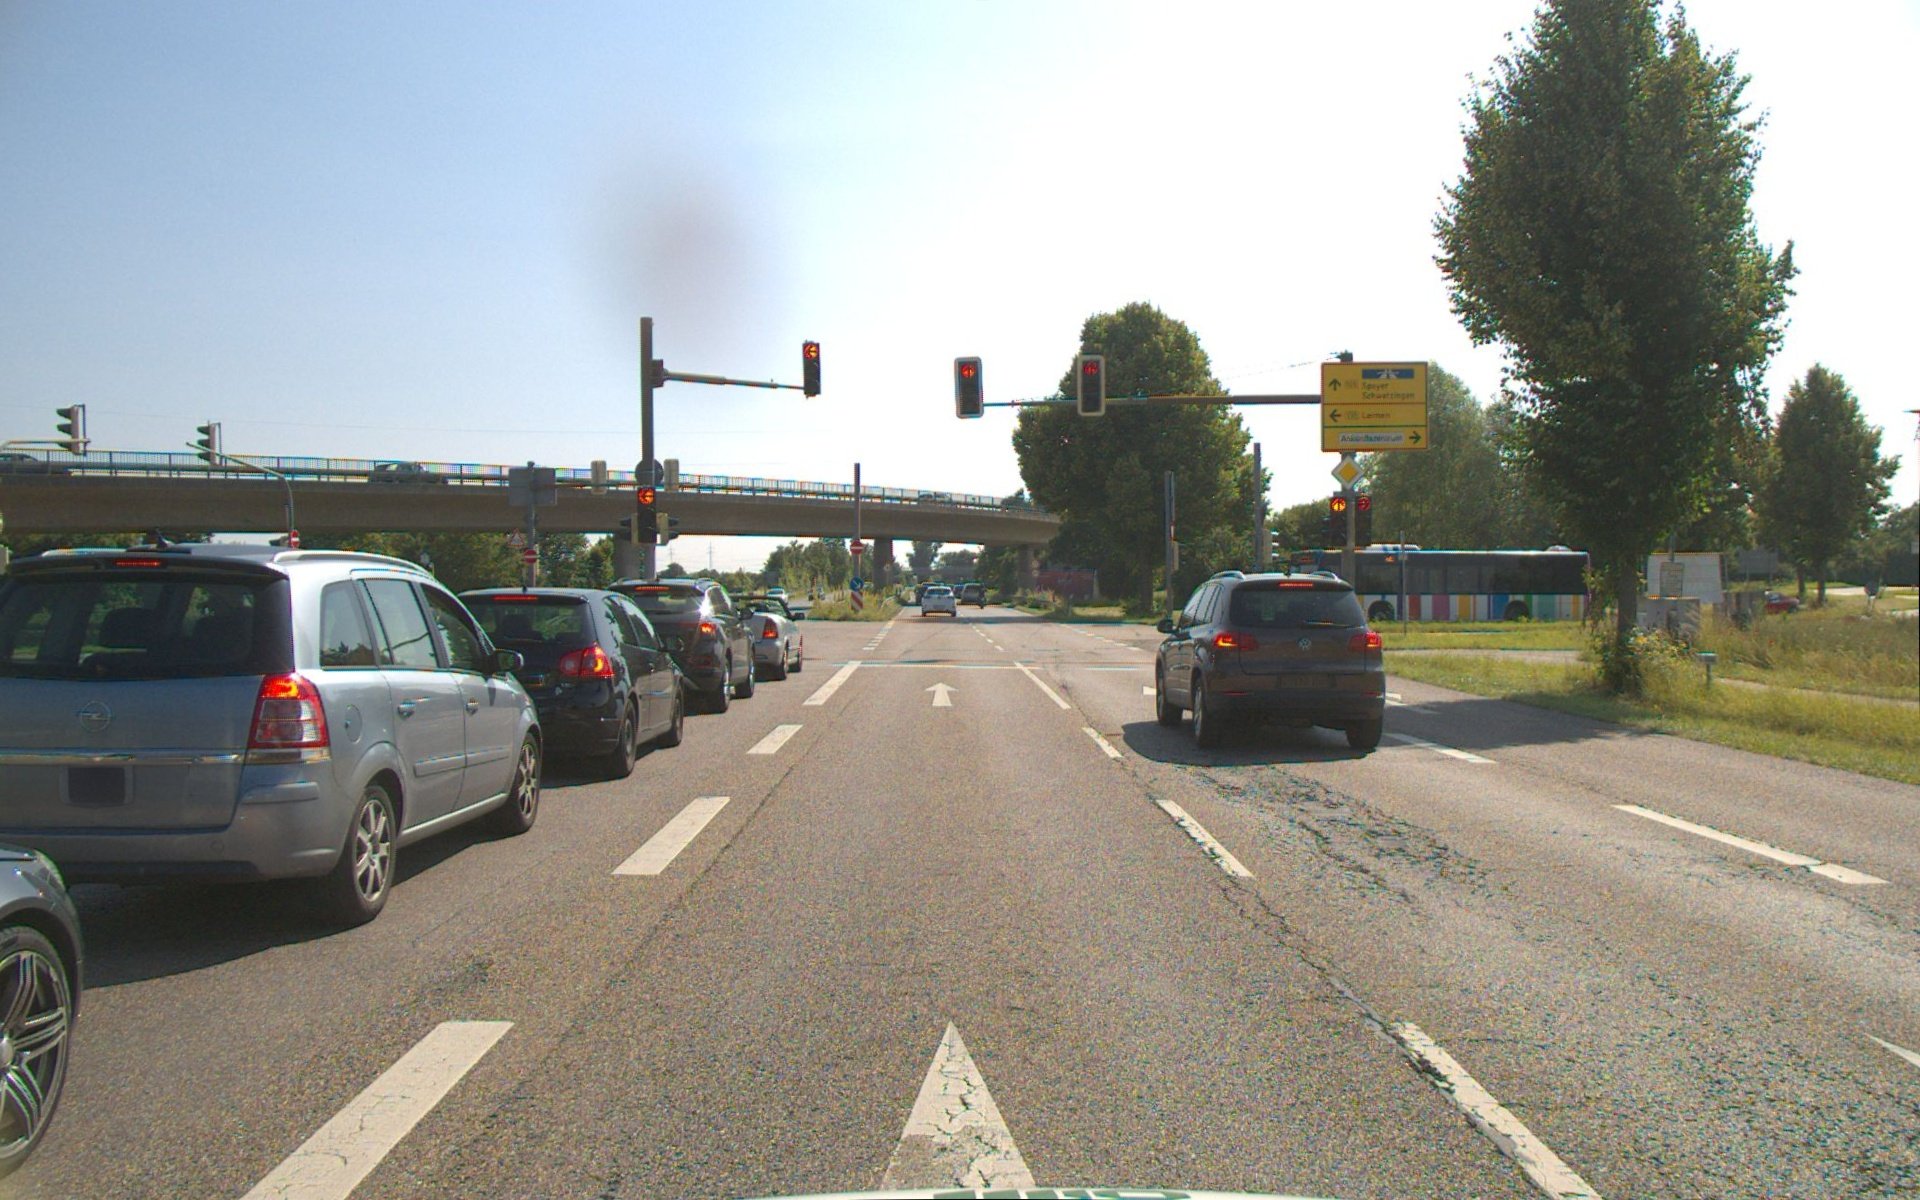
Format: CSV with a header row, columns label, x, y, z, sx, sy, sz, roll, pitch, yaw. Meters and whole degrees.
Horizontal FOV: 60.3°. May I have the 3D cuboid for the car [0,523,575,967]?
label,x,y,z,sx,sy,sz,roll,pitch,yaw
car,-3.341,0.530,8.543,1.706,1.701,4.356,1,1,-1

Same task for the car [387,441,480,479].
label,x,y,z,sx,sy,sz,roll,pitch,yaw
car,-26.305,-6.976,82.668,1.962,1.512,3.980,1,-1,39

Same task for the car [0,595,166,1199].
label,x,y,z,sx,sy,sz,roll,pitch,yaw
car,-3.089,0.723,2.513,1.679,1.434,4.355,1,1,-1

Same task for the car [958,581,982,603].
label,x,y,z,sx,sy,sz,roll,pitch,yaw
car,0.804,-0.659,130.579,1.835,1.668,4.000,1,1,0

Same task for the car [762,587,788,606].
label,x,y,z,sx,sy,sz,roll,pitch,yaw
car,-16.261,-0.283,145.383,1.845,1.541,4.146,-3,0,-2

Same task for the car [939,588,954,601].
label,x,y,z,sx,sy,sz,roll,pitch,yaw
car,-1.861,-0.701,226.484,1.953,1.684,3.999,2,0,-1

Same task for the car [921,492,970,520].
label,x,y,z,sx,sy,sz,roll,pitch,yaw
car,-1.055,-7.100,125.002,1.956,1.870,3.993,1,-1,28

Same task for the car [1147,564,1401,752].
label,x,y,z,sx,sy,sz,roll,pitch,yaw
car,3.104,0.518,17.157,1.720,1.684,4.145,1,0,-2

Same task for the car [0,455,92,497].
label,x,y,z,sx,sy,sz,roll,pitch,yaw
car,-37.578,-5.066,67.881,1.298,1.512,3.183,-1,1,38

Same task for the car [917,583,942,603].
label,x,y,z,sx,sy,sz,roll,pitch,yaw
car,-2.328,-0.539,126.150,1.835,1.518,4.000,0,1,0

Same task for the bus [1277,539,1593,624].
label,x,y,z,sx,sy,sz,roll,pitch,yaw
bus,18.027,-0.727,62.656,11.745,2.927,2.929,-1,0,-16

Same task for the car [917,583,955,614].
label,x,y,z,sx,sy,sz,roll,pitch,yaw
car,-1.156,-0.082,81.447,1.813,1.486,4.000,1,1,0

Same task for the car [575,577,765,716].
label,x,y,z,sx,sy,sz,roll,pitch,yaw
car,-3.521,0.498,20.756,1.693,1.574,4.097,0,1,-1

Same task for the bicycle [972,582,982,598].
label,x,y,z,sx,sy,sz,roll,pitch,yaw
bicycle,1.122,-0.647,108.369,0.588,1.000,2.360,-1,1,-1

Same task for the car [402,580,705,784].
label,x,y,z,sx,sy,sz,roll,pitch,yaw
car,-3.320,0.582,14.271,1.632,1.500,4.097,0,1,-1

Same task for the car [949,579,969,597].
label,x,y,z,sx,sy,sz,roll,pitch,yaw
car,-0.096,-1.200,166.732,1.953,1.660,3.999,2,0,-1

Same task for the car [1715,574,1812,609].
label,x,y,z,sx,sy,sz,roll,pitch,yaw
car,35.258,-0.382,72.601,3.932,1.422,1.669,-1,0,-23

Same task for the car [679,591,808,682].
label,x,y,z,sx,sy,sz,roll,pitch,yaw
car,-3.515,0.552,27.423,1.639,1.358,4.097,0,1,-1

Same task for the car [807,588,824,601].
label,x,y,z,sx,sy,sz,roll,pitch,yaw
car,-16.468,-0.630,188.049,1.582,1.467,3.775,-3,0,-1
